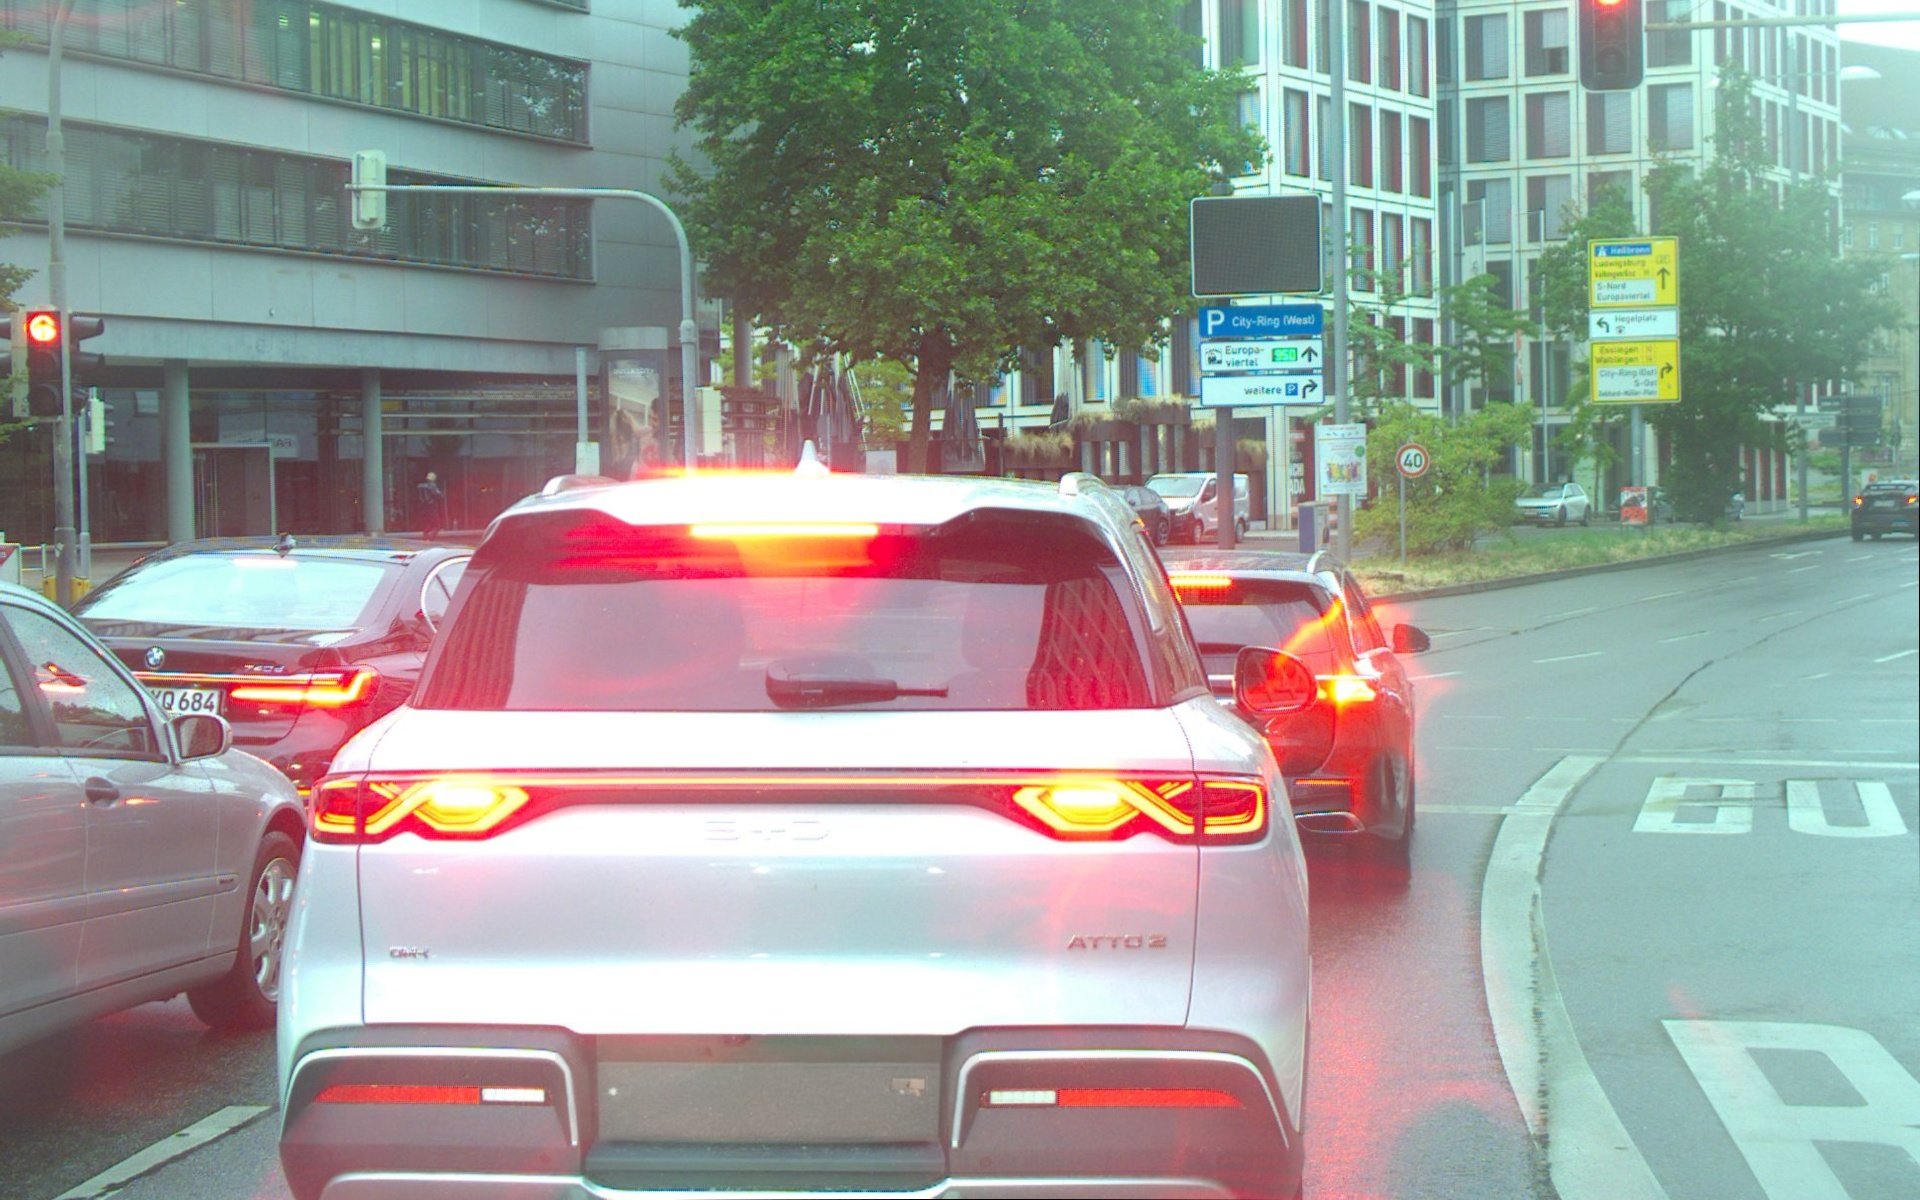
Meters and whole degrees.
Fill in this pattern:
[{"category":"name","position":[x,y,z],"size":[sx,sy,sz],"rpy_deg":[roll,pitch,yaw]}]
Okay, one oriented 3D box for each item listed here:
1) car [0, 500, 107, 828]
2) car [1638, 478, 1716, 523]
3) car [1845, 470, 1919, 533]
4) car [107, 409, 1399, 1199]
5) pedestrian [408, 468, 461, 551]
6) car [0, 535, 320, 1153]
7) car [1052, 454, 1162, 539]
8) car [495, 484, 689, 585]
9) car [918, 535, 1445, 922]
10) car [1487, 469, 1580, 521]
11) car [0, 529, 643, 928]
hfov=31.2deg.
[{"category":"car","position":[-5.738,0.321,16.020],"size":[1.886,1.590,3.998],"rpy_deg":[0,1,12]},{"category":"car","position":[28.848,-4.019,138.286],"size":[1.996,1.700,4.303],"rpy_deg":[1,3,27]},{"category":"car","position":[23.683,-2.496,87.350],"size":[1.995,1.546,3.996],"rpy_deg":[2,2,19]},{"category":"car","position":[-0.242,0.500,7.569],"size":[1.993,1.703,4.483],"rpy_deg":[0,2,2]},{"category":"pedestrian","position":[-10.986,-1.893,71.872],"size":[0.728,1.721,0.924],"rpy_deg":[0,1,21]},{"category":"car","position":[-3.108,0.588,8.963],"size":[1.682,1.481,4.196],"rpy_deg":[0,1,6]},{"category":"car","position":[3.897,-2.702,90.412],"size":[1.739,2.154,4.490],"rpy_deg":[1,1,18]},{"category":"car","position":[-6.647,-1.224,62.527],"size":[1.995,1.700,3.997],"rpy_deg":[1,3,19]},{"category":"car","position":[1.160,0.475,15.887],"size":[1.956,1.525,3.998],"rpy_deg":[0,1,11]},{"category":"car","position":[19.960,-3.674,119.516],"size":[1.996,1.700,4.303],"rpy_deg":[1,3,27]},{"category":"car","position":[-2.914,0.451,15.387],"size":[1.956,1.525,3.998],"rpy_deg":[0,1,11]}]
